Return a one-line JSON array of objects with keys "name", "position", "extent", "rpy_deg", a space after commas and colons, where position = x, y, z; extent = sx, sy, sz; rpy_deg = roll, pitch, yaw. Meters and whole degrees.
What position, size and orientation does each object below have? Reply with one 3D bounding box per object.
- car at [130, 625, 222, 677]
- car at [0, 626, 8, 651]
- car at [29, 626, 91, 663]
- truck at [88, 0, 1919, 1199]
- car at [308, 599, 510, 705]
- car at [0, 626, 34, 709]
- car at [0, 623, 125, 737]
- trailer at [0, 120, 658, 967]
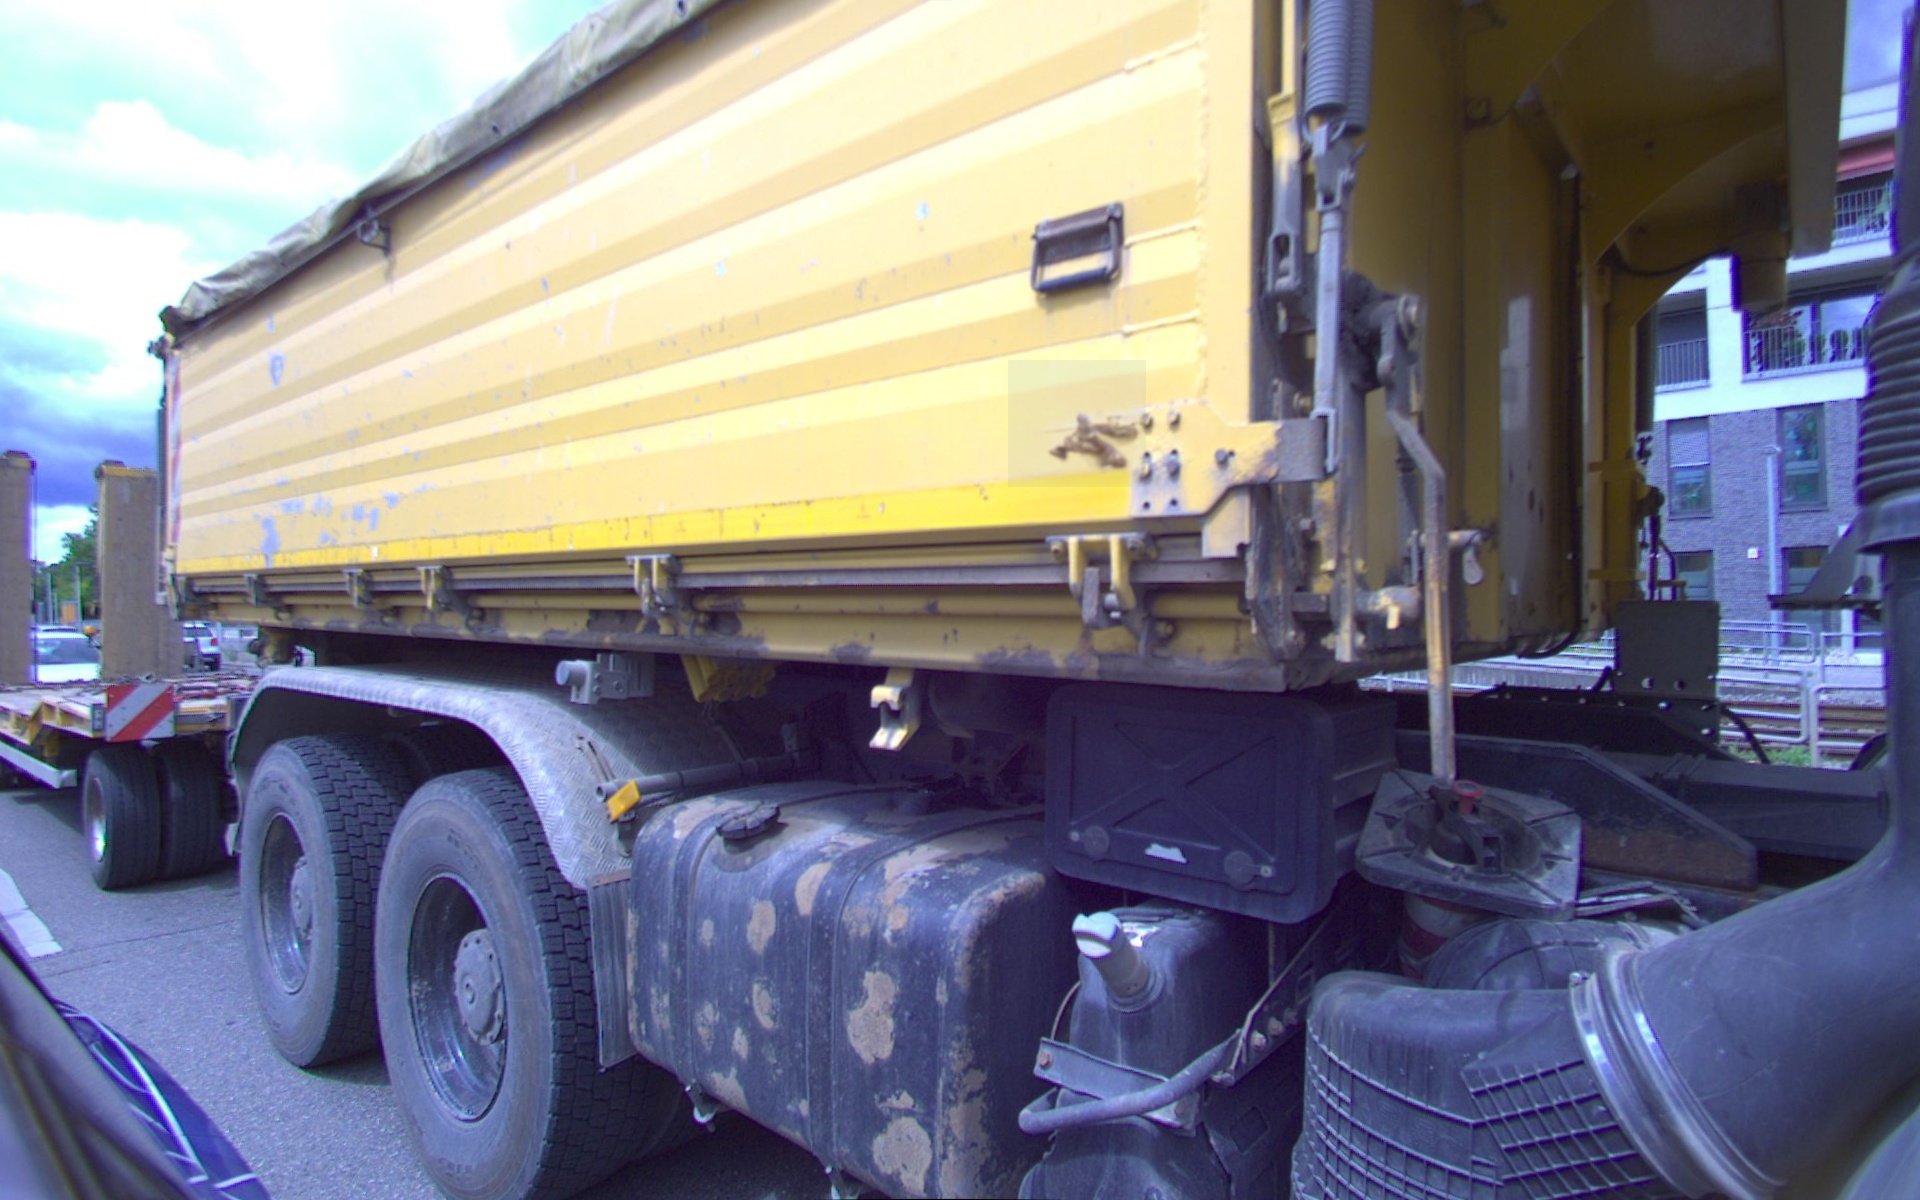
[{"name": "car", "position": [-24.432, 1.559, 31.497], "extent": [3.552, 1.509, 1.623], "rpy_deg": [-2, -1, 41]}, {"name": "car", "position": [-59.184, 2.371, 61.369], "extent": [3.552, 1.509, 1.747], "rpy_deg": [-2, -1, 41]}, {"name": "car", "position": [-39.295, 1.934, 44.165], "extent": [3.552, 1.509, 1.623], "rpy_deg": [-2, -1, 41]}, {"name": "truck", "position": [0.155, -0.031, 2.690], "extent": [7.775, 3.026, 2.692], "rpy_deg": [-1, 0, 41]}, {"name": "car", "position": [-10.735, 0.947, 19.534], "extent": [4.861, 1.785, 1.863], "rpy_deg": [-2, -1, 41]}, {"name": "car", "position": [-19.510, 1.292, 19.770], "extent": [3.998, 1.490, 1.671], "rpy_deg": [-1, 0, 41]}, {"name": "car", "position": [-14.212, 1.126, 15.422], "extent": [3.998, 1.490, 1.671], "rpy_deg": [-1, 0, 41]}, {"name": "trailer", "position": [-6.863, -0.143, 8.858], "extent": [10.909, 3.548, 2.678], "rpy_deg": [-2, -1, 41]}]
